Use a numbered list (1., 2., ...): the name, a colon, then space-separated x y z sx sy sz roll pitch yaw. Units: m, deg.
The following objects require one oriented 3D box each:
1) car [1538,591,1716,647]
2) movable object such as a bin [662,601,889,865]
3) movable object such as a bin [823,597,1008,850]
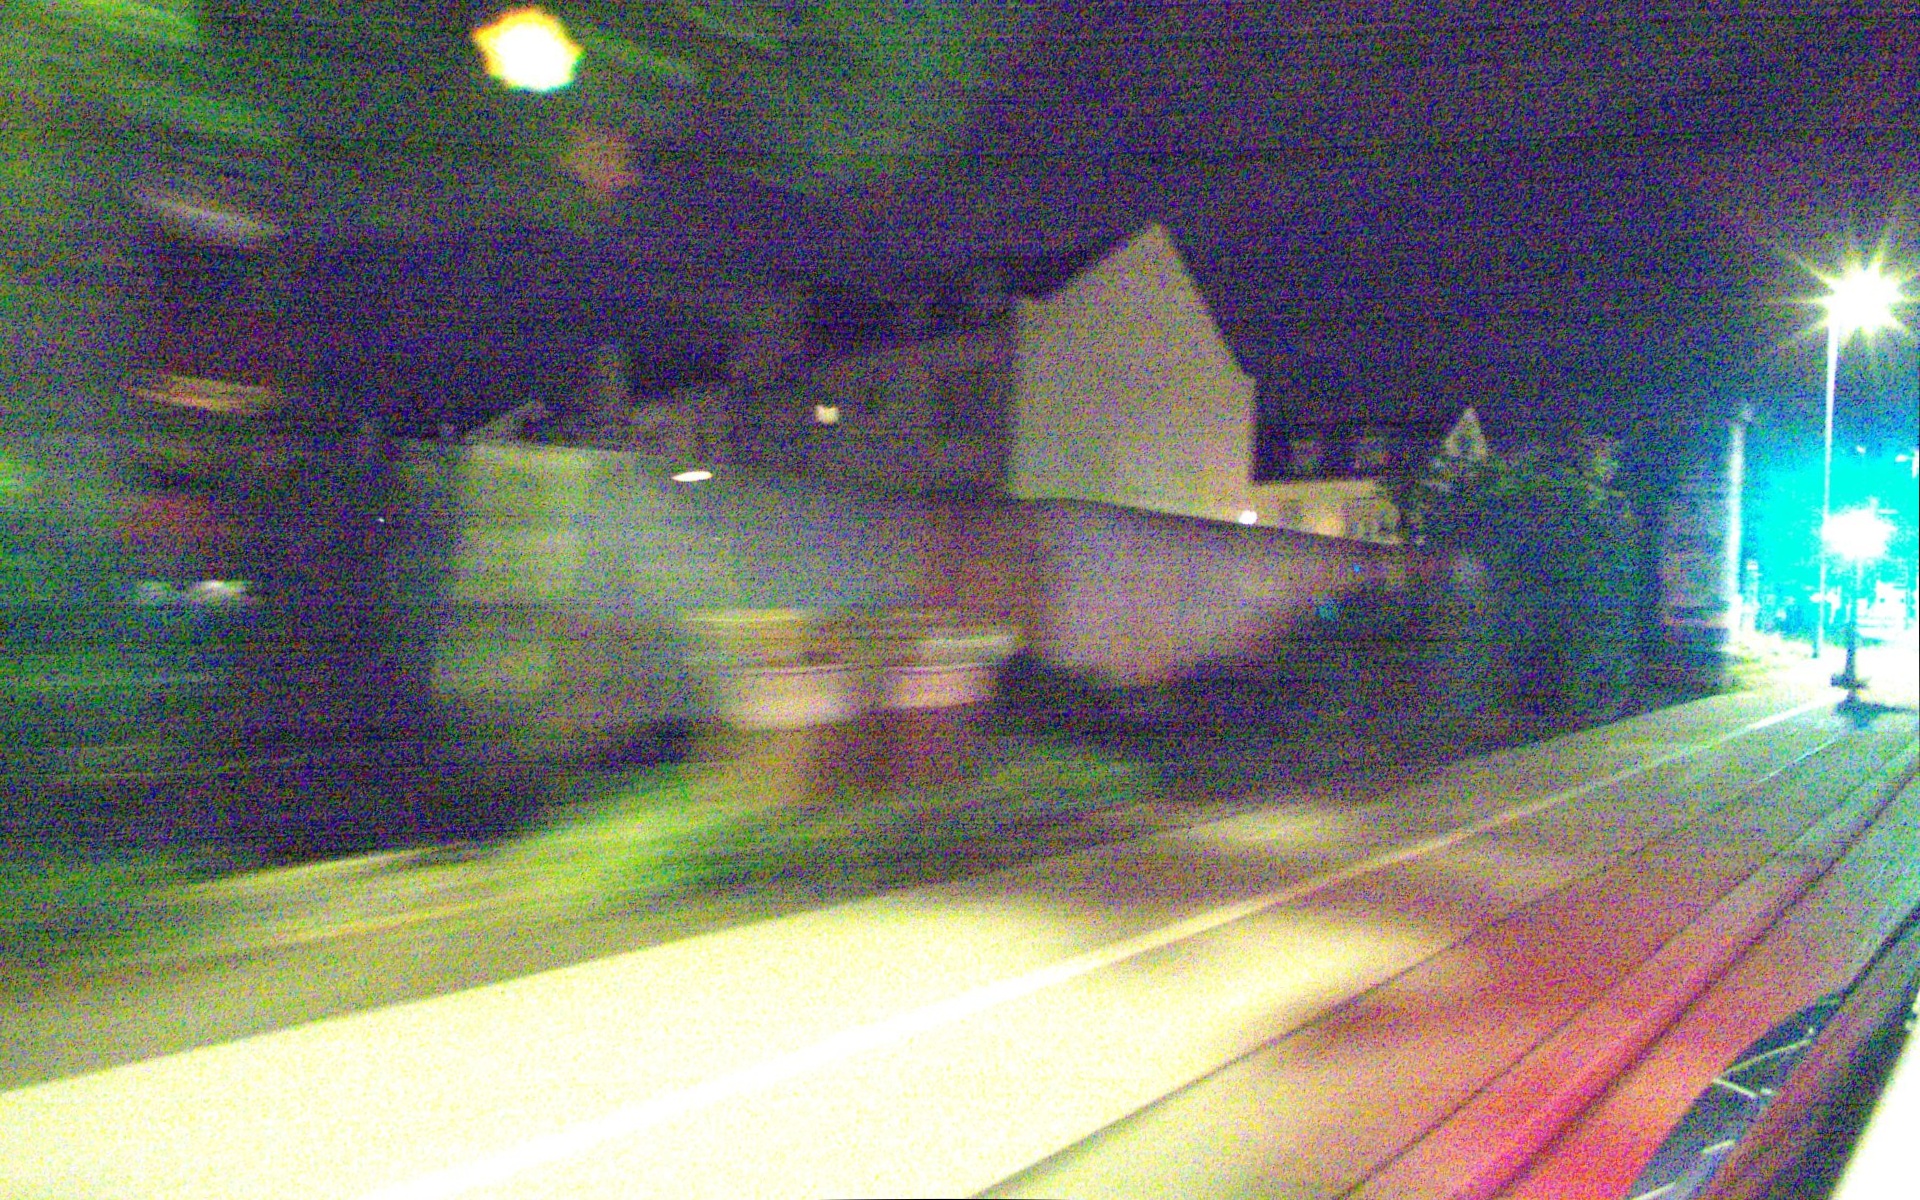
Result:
1. car: 18.266 0.471 27.809 1.827 1.371 3.770 -1 1 -42
2. movable object such as a bin: -0.916 0.587 4.983 0.876 1.135 0.726 1 1 -33
3. movable object such as a bin: -0.250 0.606 5.434 0.705 1.216 0.727 1 1 -32
